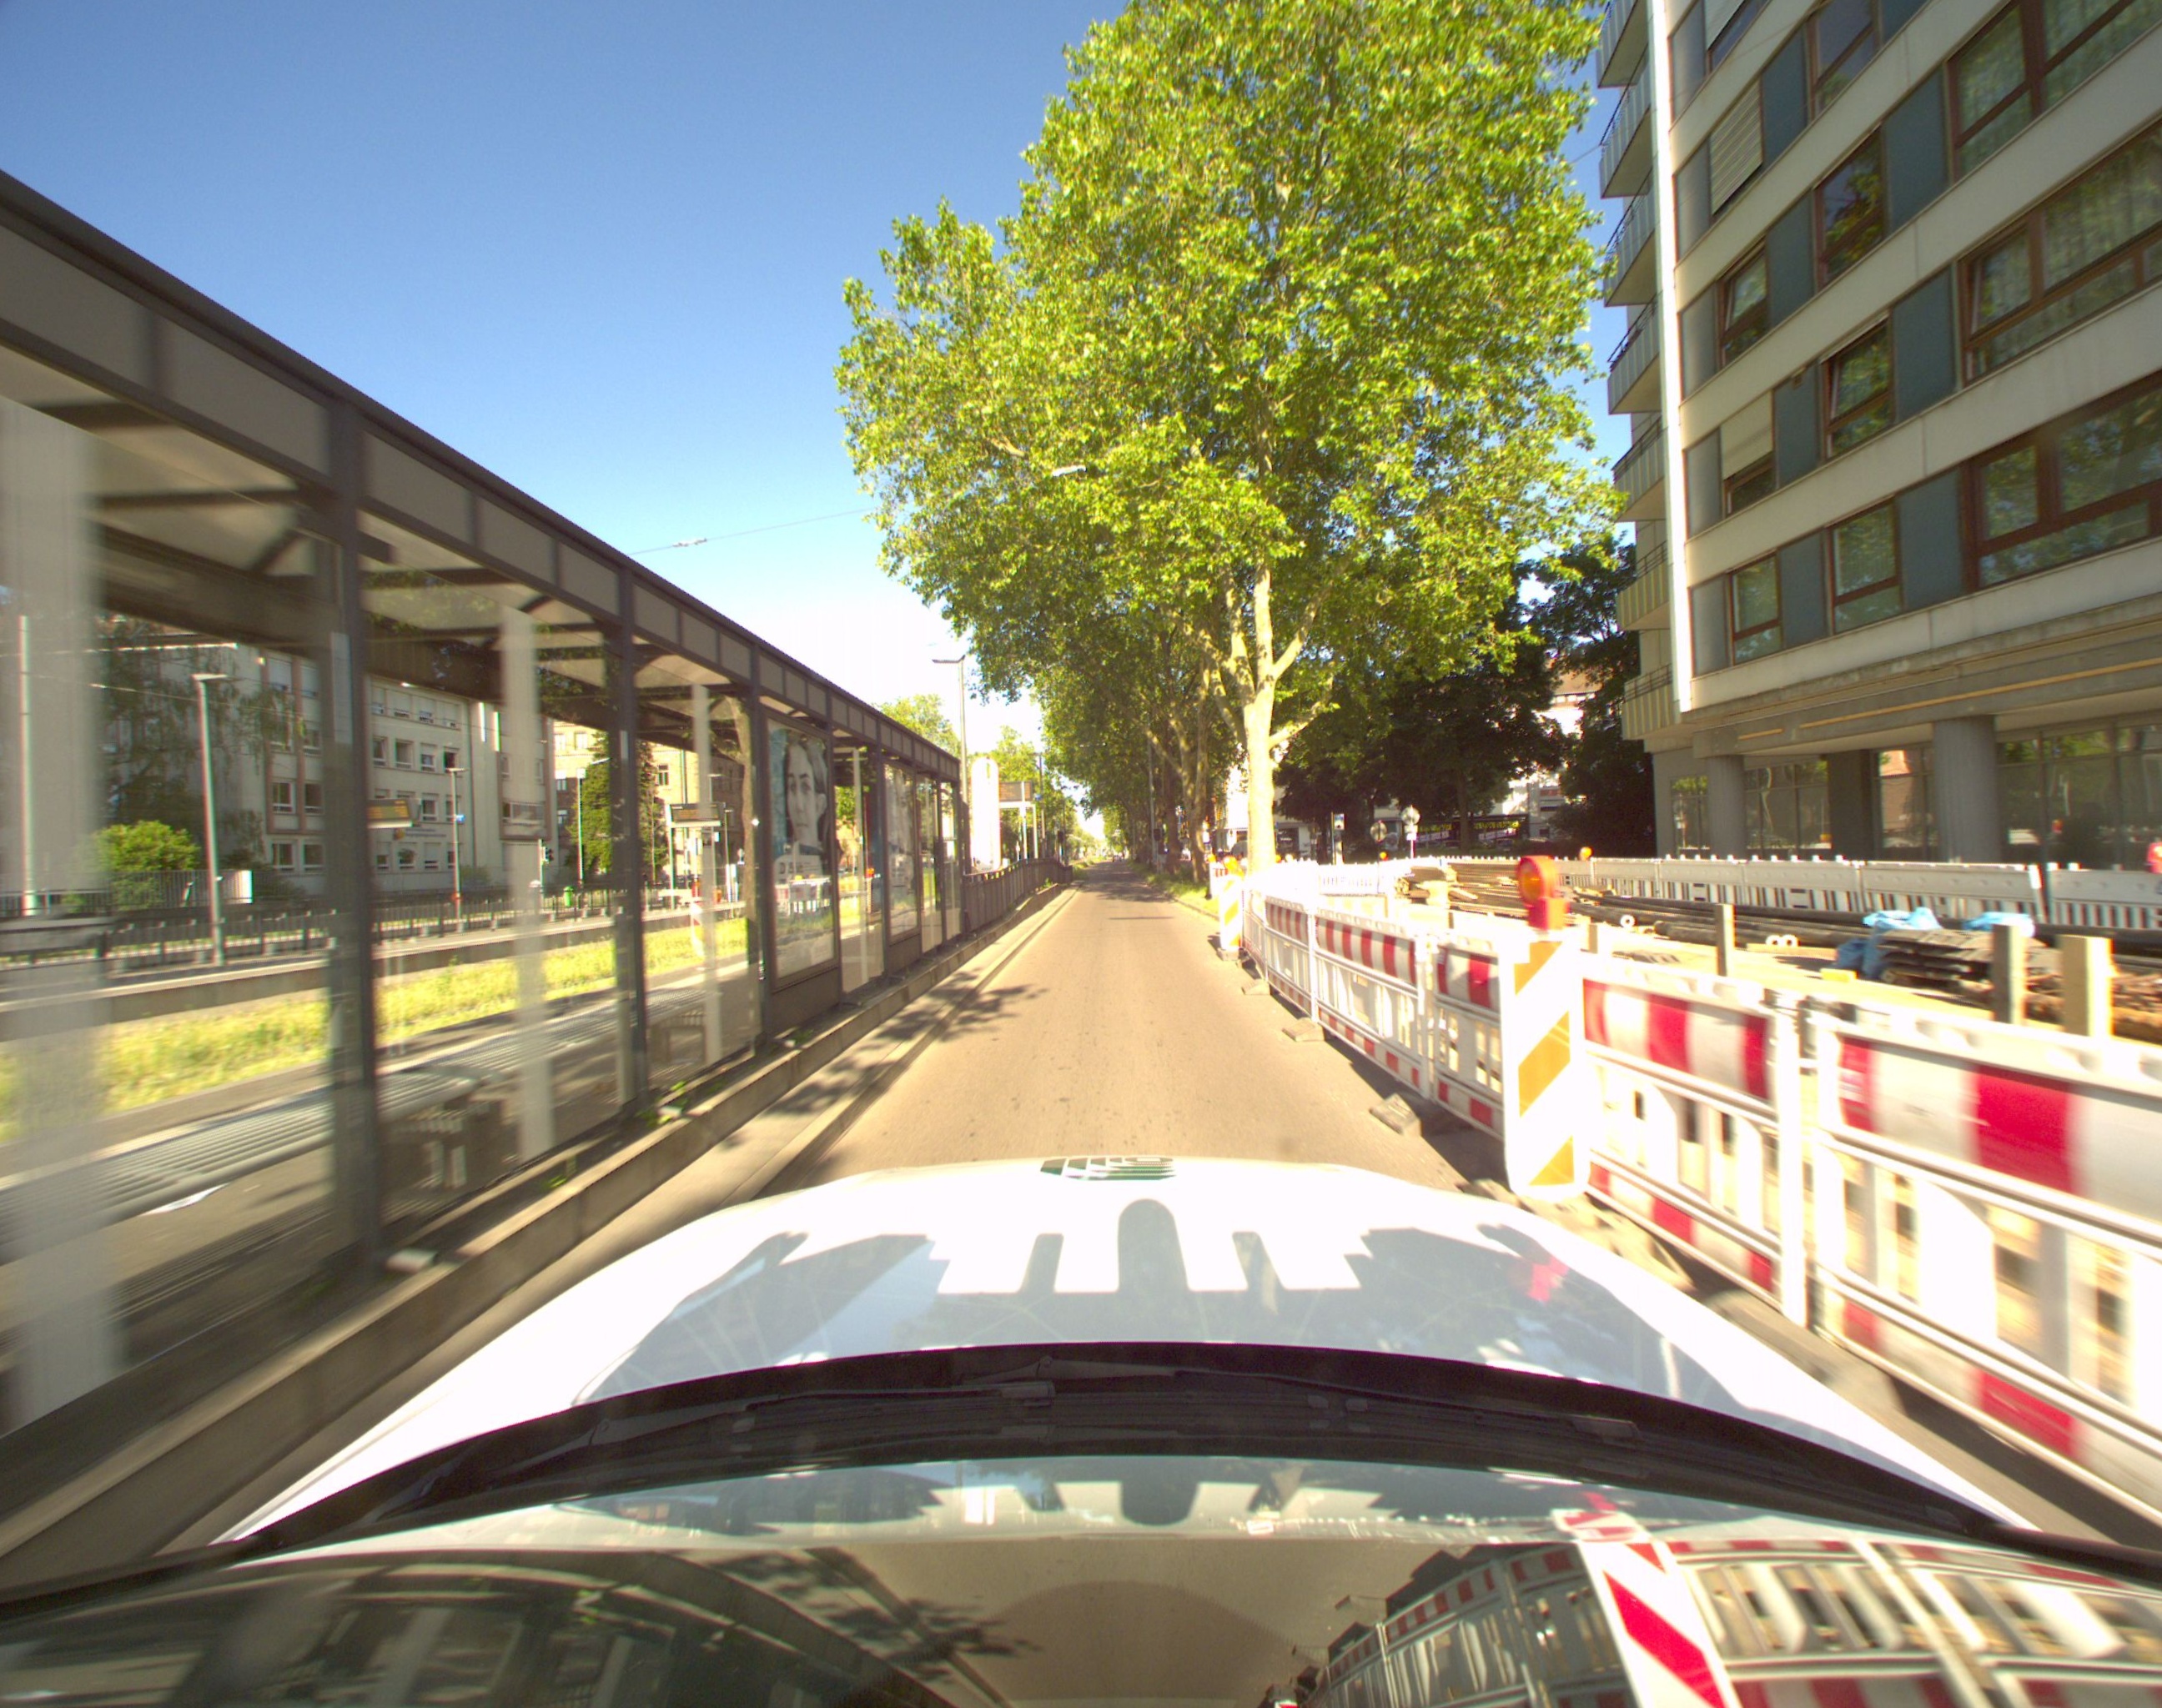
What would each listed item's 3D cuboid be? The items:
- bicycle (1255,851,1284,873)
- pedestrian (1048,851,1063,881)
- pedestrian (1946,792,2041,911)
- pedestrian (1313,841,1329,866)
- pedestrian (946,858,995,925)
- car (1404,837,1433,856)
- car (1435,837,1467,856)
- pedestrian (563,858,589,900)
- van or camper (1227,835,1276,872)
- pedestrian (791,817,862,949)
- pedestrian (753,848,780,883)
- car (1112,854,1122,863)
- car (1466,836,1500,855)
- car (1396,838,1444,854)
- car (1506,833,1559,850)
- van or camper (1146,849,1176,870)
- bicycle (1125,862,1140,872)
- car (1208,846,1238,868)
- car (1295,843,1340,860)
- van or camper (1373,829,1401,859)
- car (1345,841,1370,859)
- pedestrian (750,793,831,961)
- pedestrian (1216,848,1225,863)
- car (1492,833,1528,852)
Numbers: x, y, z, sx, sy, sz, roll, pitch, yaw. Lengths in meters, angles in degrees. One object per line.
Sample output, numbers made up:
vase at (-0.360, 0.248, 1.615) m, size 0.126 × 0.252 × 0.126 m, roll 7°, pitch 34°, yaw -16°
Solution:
bicycle at (11.933, 0.500, 51.586) m, size 1.600 × 1.263 × 0.962 m, roll -2°, pitch 0°, yaw -3°
pedestrian at (-1.435, 0.664, 45.670) m, size 0.709 × 1.680 × 0.772 m, roll -2°, pitch 0°, yaw 1°
pedestrian at (14.400, -0.042, 12.867) m, size 0.687 × 1.815 × 0.666 m, roll -2°, pitch 0°, yaw 2°
pedestrian at (15.876, -0.034, 53.979) m, size 0.729 × 1.616 × 1.036 m, roll -2°, pitch 0°, yaw 2°
pedestrian at (-2.051, 0.680, 15.148) m, size 0.749 × 1.179 × 0.813 m, roll -2°, pitch 0°, yaw 1°
car at (30.974, -0.706, 74.832) m, size 1.978 × 1.669 × 4.767 m, roll -2°, pitch 0°, yaw 17°
car at (33.780, -0.685, 74.430) m, size 1.978 × 1.669 × 4.767 m, roll -2°, pitch 0°, yaw 17°
pedestrian at (-24.894, 1.226, 40.142) m, size 0.660 × 2.013 × 0.861 m, roll -2°, pitch 0°, yaw 1°
van or camper at (11.531, -0.021, 55.597) m, size 2.282 × 2.286 × 5.825 m, roll -2°, pitch 0°, yaw 2°
pedestrian at (-3.585, 0.397, 11.512) m, size 0.679 × 1.784 × 0.755 m, roll -2°, pitch 0°, yaw 3°
pedestrian at (-15.830, 0.567, 41.025) m, size 0.948 × 1.736 × 0.731 m, roll -2°, pitch 0°, yaw 4°
car at (7.215, 0.826, 163.877) m, size 2.014 × 1.662 × 4.002 m, roll -2°, pitch 0°, yaw 2°
car at (36.318, -0.750, 73.674) m, size 1.978 × 1.628 × 4.410 m, roll -2°, pitch 0°, yaw 17°
car at (35.208, -0.838, 84.693) m, size 4.346 × 1.536 × 2.009 m, roll -2°, pitch 0°, yaw 18°
car at (45.322, -1.282, 81.786) m, size 4.346 × 1.536 × 2.009 m, roll -2°, pitch 0°, yaw 18°
van or camper at (6.306, 0.441, 64.405) m, size 1.503 × 1.588 × 2.826 m, roll -2°, pitch 0°, yaw -15°
bicycle at (6.040, 1.505, 95.566) m, size 1.584 × 1.058 × 0.405 m, roll -2°, pitch 0°, yaw 9°
car at (12.358, 0.266, 71.125) m, size 1.812 × 1.742 × 5.170 m, roll -2°, pitch 0°, yaw 2°
car at (25.553, -0.261, 87.889) m, size 4.550 × 1.581 × 2.009 m, roll -2°, pitch 0°, yaw 17°
van or camper at (28.450, -0.919, 75.807) m, size 2.130 × 2.636 × 5.614 m, roll -2°, pitch 0°, yaw 18°
car at (25.941, -0.374, 76.544) m, size 1.978 × 1.628 × 4.410 m, roll -2°, pitch 0°, yaw 17°
pedestrian at (-3.610, 0.278, 10.156) m, size 0.665 × 2.013 × 0.717 m, roll -2°, pitch 0°, yaw 3°
pedestrian at (15.693, 0.167, 91.678) m, size 0.792 × 1.704 × 0.724 m, roll -3°, pitch 0°, yaw 2°
car at (38.413, -1.033, 73.047) m, size 1.978 × 1.628 × 4.410 m, roll -2°, pitch 0°, yaw 17°
